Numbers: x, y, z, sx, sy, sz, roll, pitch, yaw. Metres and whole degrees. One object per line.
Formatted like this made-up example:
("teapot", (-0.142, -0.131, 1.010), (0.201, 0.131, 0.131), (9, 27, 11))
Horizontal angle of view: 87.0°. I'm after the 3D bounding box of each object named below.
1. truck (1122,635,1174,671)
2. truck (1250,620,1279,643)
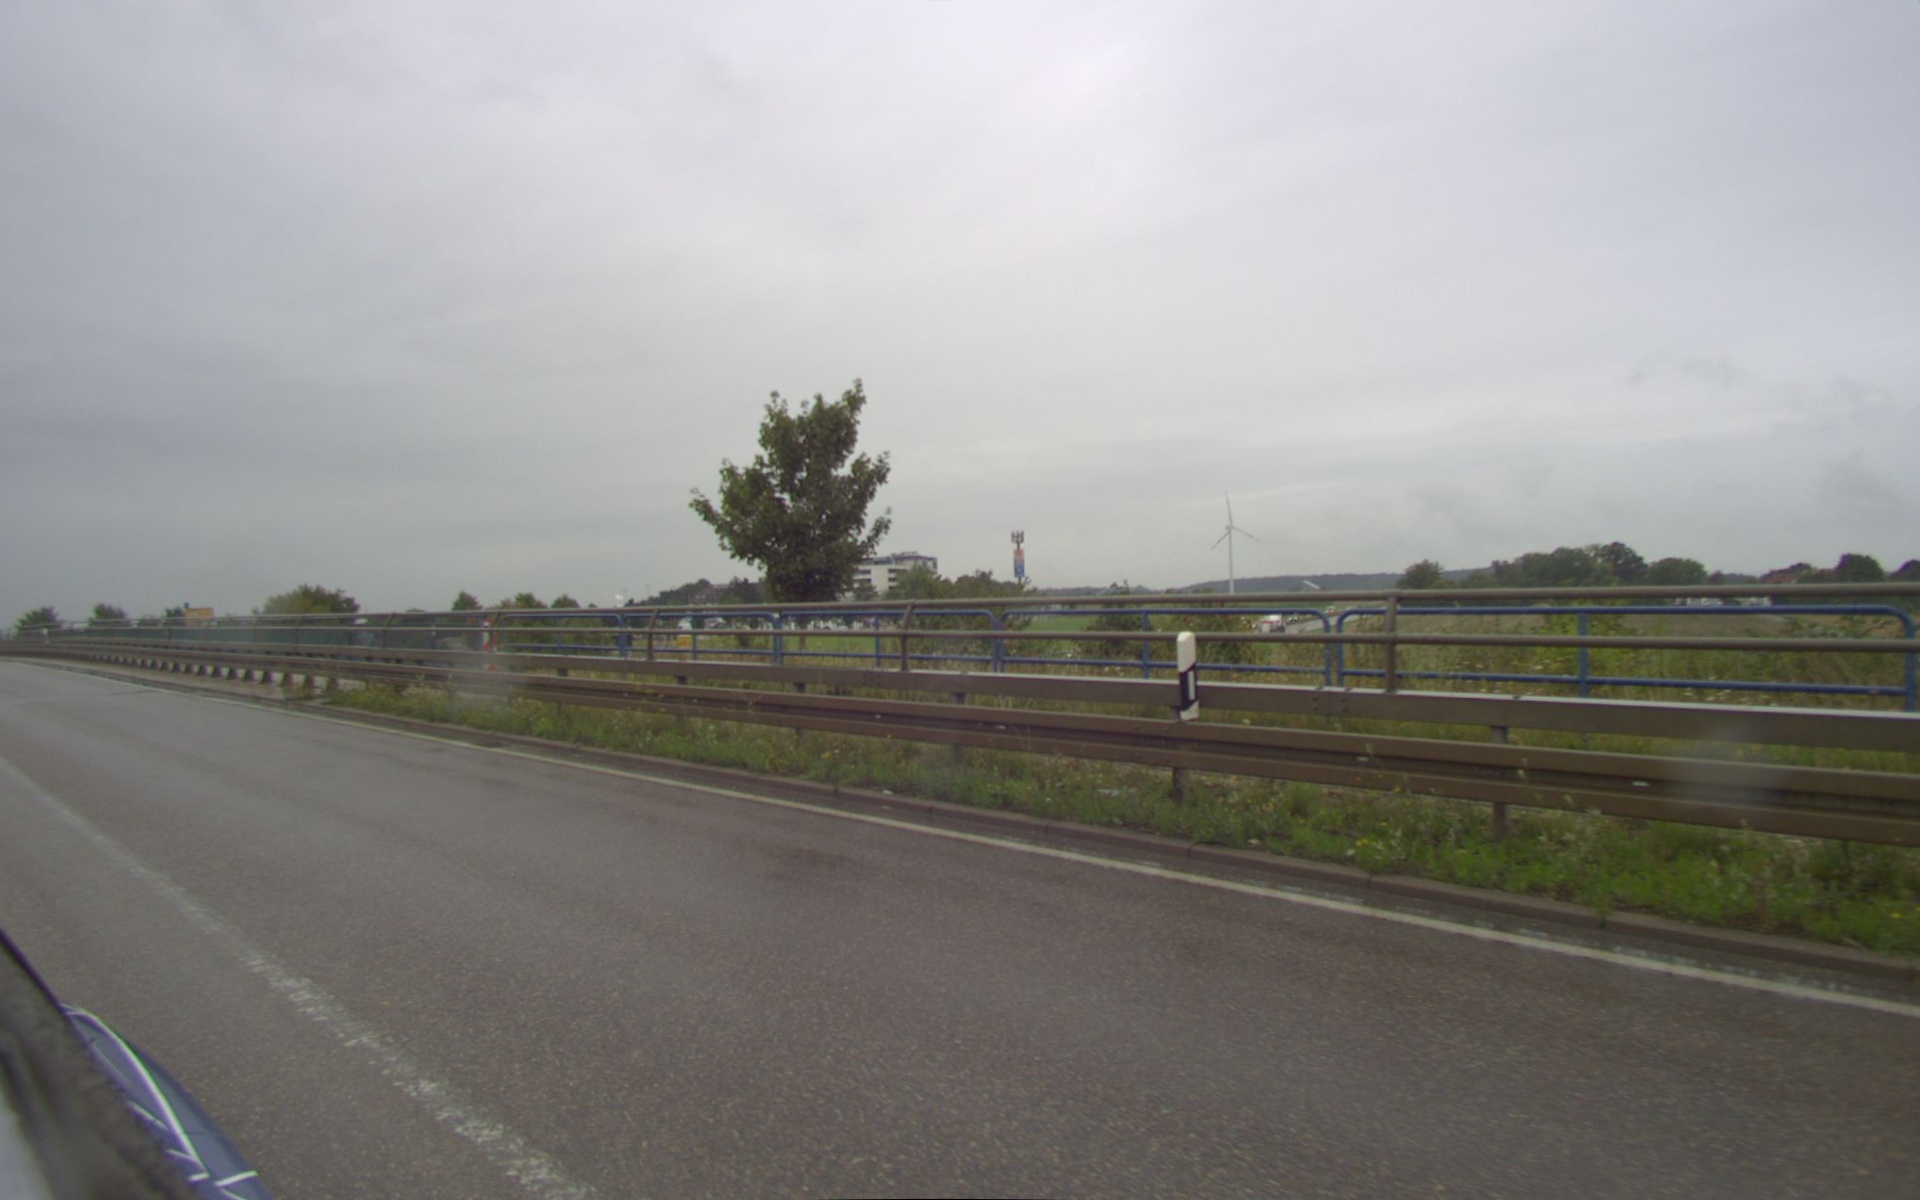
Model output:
("truck", (24.377, 6.717, 130.544), (3.336, 3.975, 11.421), (-1, 0, 27))
("truck", (58.056, 5.909, 192.738), (3.335, 3.975, 11.425), (-1, 0, 26))
